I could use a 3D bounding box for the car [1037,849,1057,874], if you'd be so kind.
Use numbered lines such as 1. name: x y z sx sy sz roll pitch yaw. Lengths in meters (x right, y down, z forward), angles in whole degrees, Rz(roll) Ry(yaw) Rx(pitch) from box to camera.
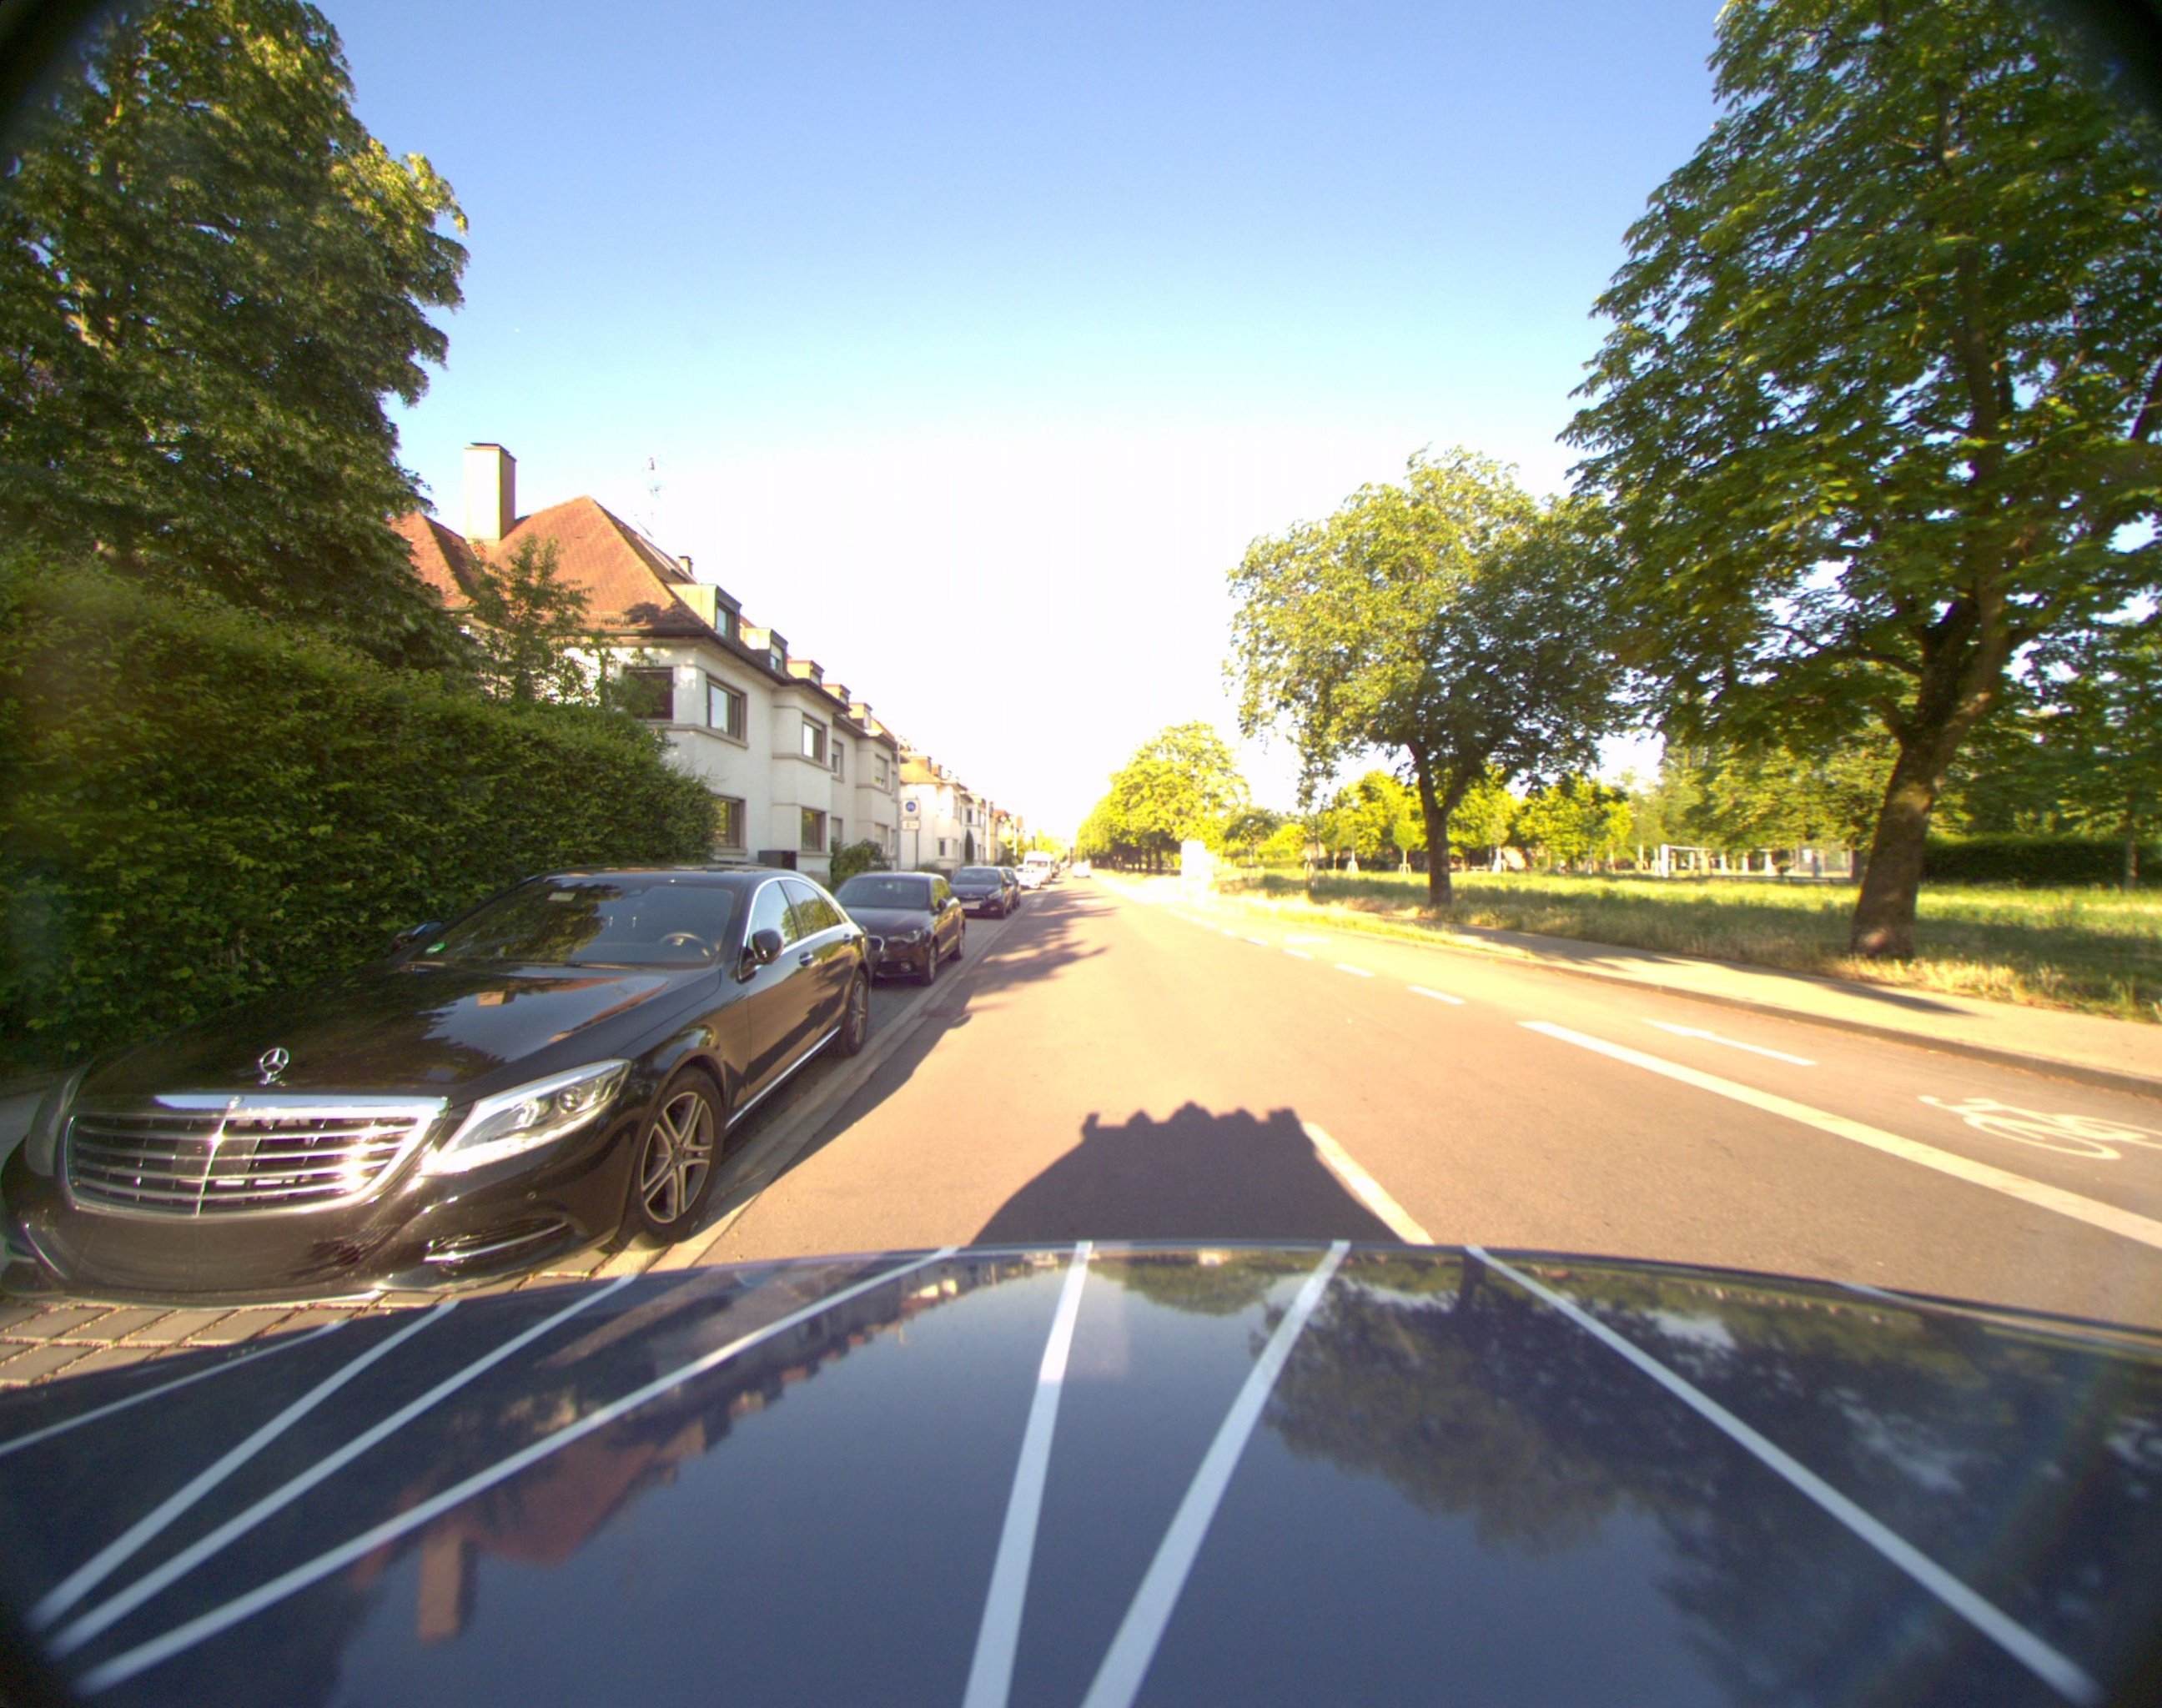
1. car: -3.987 0.890 90.241 2.134 2.837 5.987 -1 0 -1

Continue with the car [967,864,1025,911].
1. car: -3.003 1.153 27.570 1.723 1.463 3.983 2 0 -2

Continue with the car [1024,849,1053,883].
1. car: -3.289 0.948 59.670 2.135 2.503 5.507 1 0 -2

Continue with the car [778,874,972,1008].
1. car: -2.653 1.053 10.720 1.645 1.419 3.936 2 0 0

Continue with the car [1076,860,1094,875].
1. car: 0.427 1.550 88.344 1.896 1.667 4.424 -1 0 -1

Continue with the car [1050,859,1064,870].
1. car: -3.651 1.583 116.666 1.974 1.630 4.000 2 -1 -1

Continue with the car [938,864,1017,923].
1. car: -2.922 1.075 22.239 1.751 1.466 4.255 3 0 -2

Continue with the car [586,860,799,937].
1. car: -8.226 0.926 16.383 3.644 1.487 1.780 2 0 -5

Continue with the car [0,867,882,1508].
1. car: -2.629 0.893 4.349 1.864 1.533 4.872 1 0 -3

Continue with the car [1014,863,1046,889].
1. car: -3.093 1.322 46.697 1.787 1.498 4.233 -1 0 -2

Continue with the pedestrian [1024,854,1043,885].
1. pedestrian: -3.092 0.984 49.638 1.089 2.002 0.865 0 0 -16
